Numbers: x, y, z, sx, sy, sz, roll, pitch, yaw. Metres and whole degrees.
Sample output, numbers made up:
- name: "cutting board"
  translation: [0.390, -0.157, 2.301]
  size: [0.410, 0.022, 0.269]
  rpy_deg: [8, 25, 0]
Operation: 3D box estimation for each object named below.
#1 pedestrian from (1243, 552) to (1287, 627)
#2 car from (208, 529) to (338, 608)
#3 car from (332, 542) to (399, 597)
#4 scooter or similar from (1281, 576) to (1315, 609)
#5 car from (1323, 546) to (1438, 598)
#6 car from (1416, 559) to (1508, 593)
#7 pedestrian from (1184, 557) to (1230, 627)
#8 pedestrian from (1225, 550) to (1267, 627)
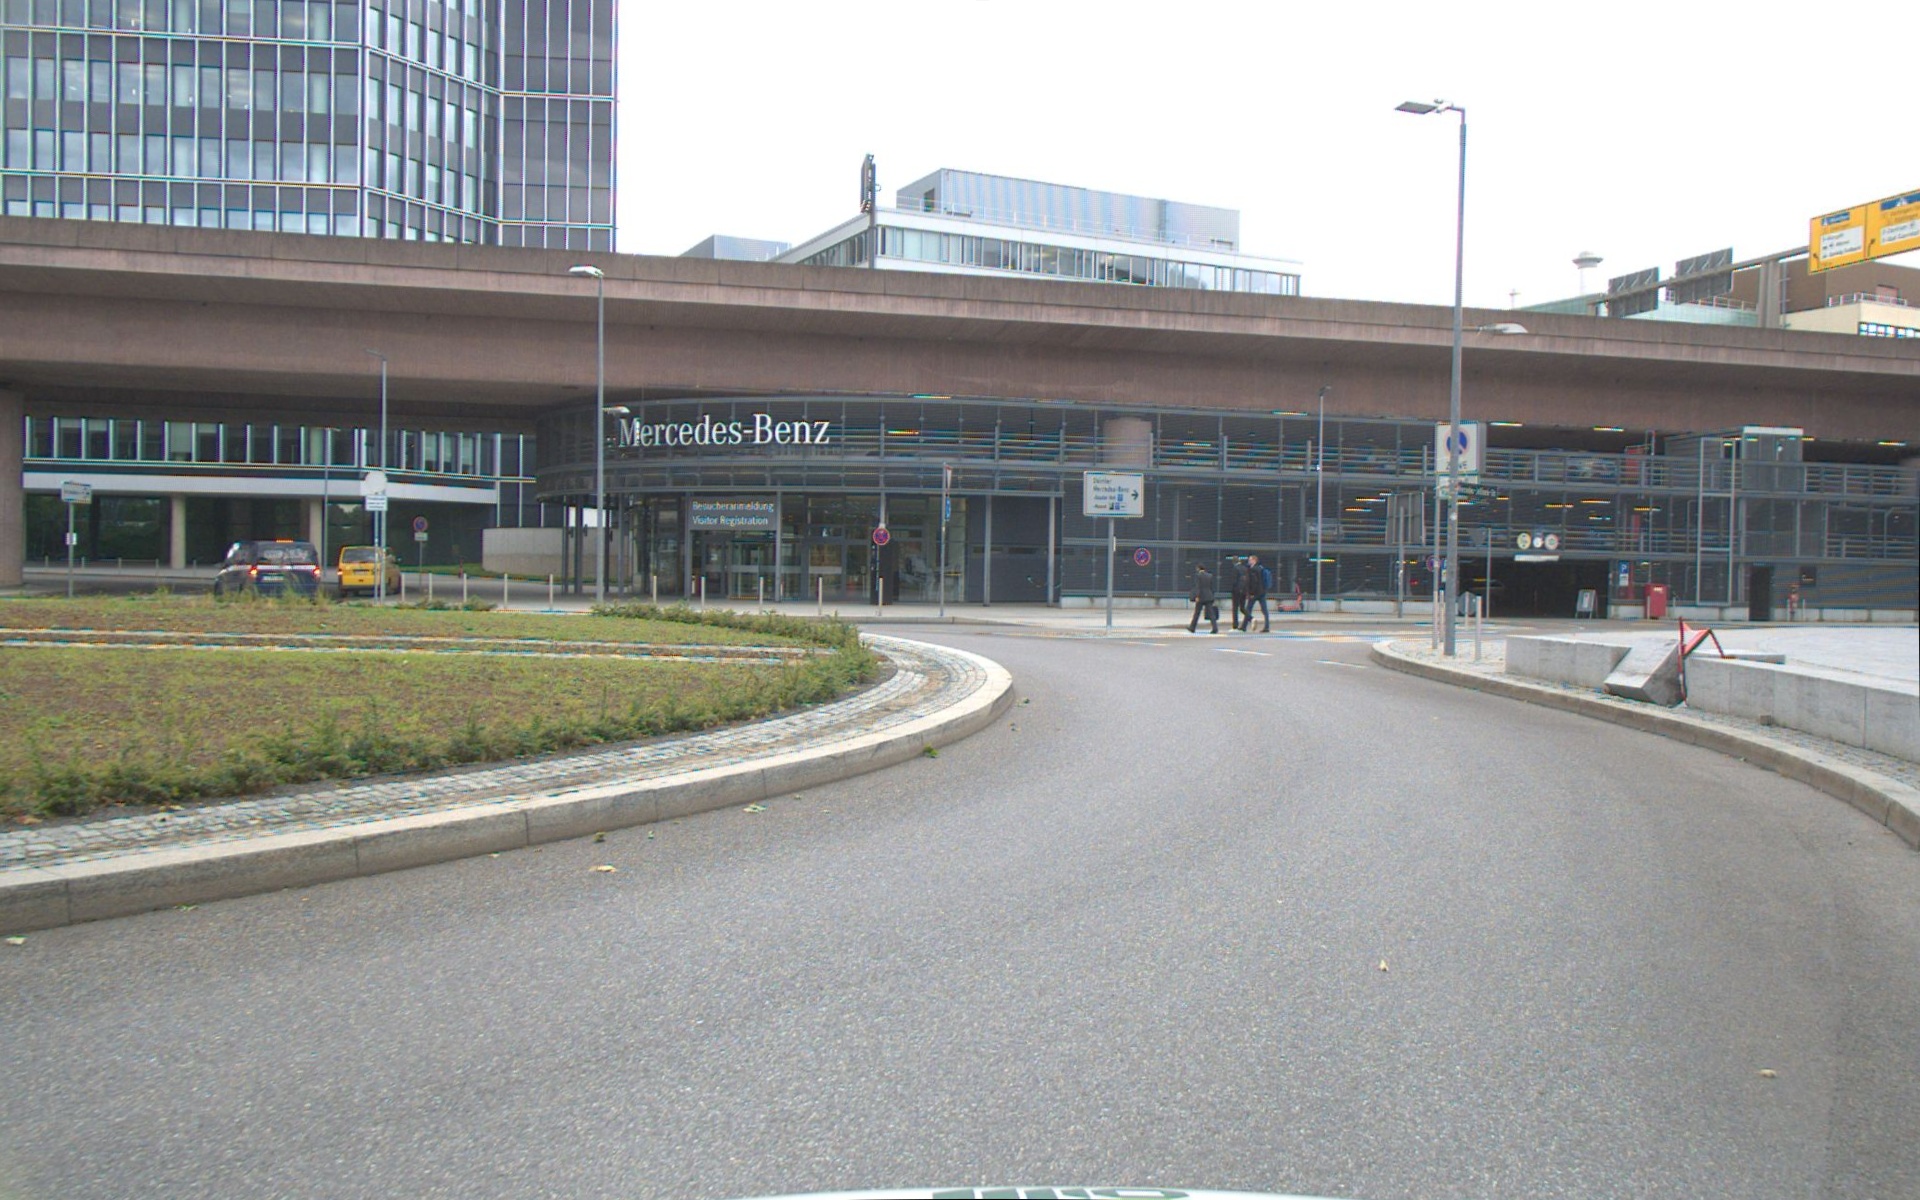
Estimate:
- name: "pedestrian"
  translation: [7.259, -0.251, 39.409]
  size: [0.815, 1.771, 0.689]
  rpy_deg: [1, 0, -7]
- name: "car"
  translation: [-19.019, -0.874, 45.670]
  size: [2.258, 2.049, 4.723]
  rpy_deg: [1, 1, -36]
- name: "car"
  translation: [-23.528, -1.210, 65.590]
  size: [1.959, 2.049, 3.988]
  rpy_deg: [1, 1, -13]
- name: "scooter or similar"
  translation: [12.583, -0.283, 61.599]
  size: [1.210, 1.215, 0.354]
  rpy_deg: [1, 0, -15]
- name: "car"
  translation: [16.612, -1.121, 65.355]
  size: [3.919, 1.937, 1.993]
  rpy_deg: [1, 1, -14]
- name: "car"
  translation: [24.979, -1.218, 82.344]
  size: [3.919, 1.601, 1.993]
  rpy_deg: [1, 1, -14]
- name: "pedestrian"
  translation: [5.705, -0.186, 38.218]
  size: [0.818, 1.597, 0.687]
  rpy_deg: [1, 0, -18]
- name: "pedestrian"
  translation: [6.701, -0.263, 38.795]
  size: [0.814, 1.771, 0.690]
  rpy_deg: [1, 0, -3]
